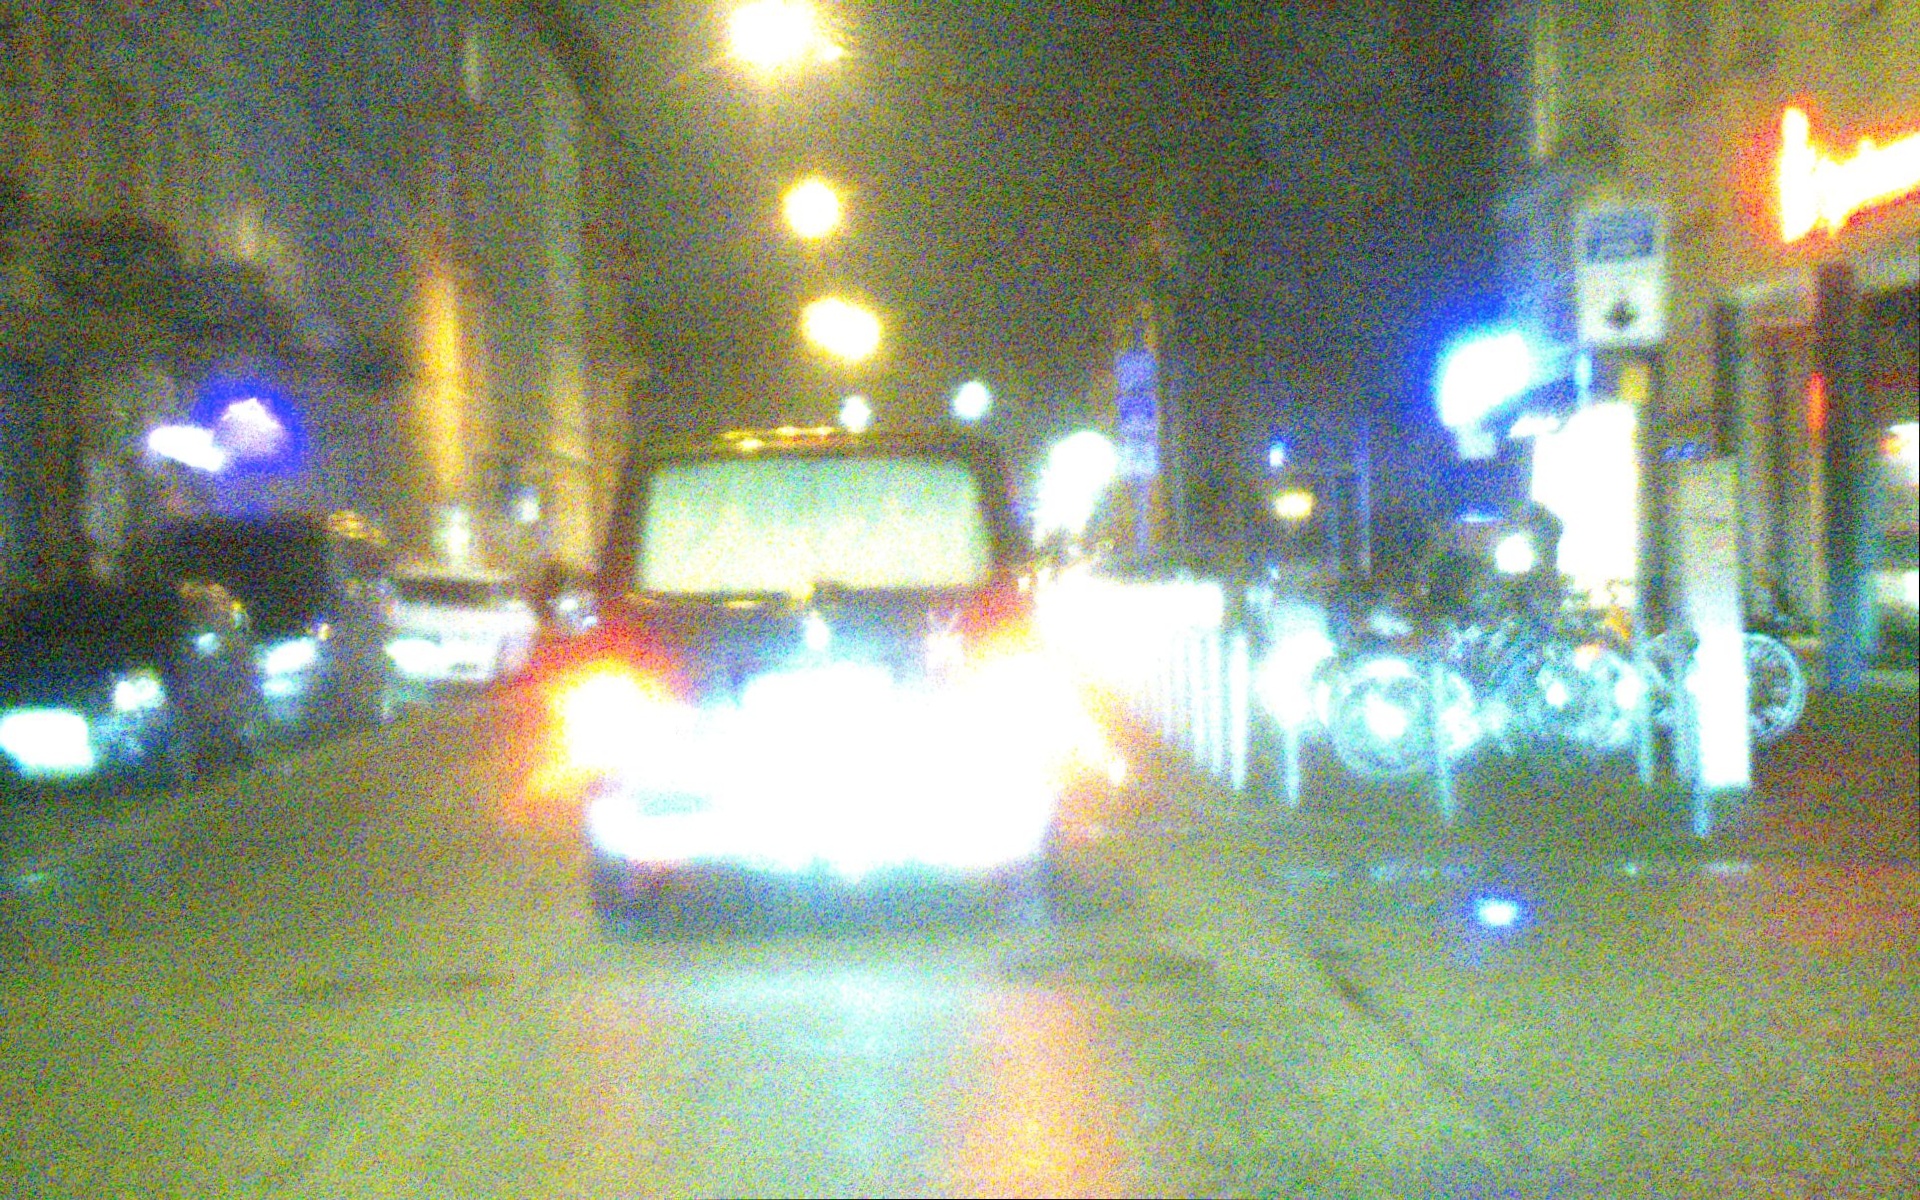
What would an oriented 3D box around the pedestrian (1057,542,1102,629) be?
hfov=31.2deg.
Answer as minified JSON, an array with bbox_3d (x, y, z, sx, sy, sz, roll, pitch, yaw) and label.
[{"bbox_3d":[2.564,-0.323,73.803,0.862,1.782,1.083,-3,2,2],"label":"pedestrian"}]

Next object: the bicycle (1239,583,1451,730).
[{"bbox_3d":[2.994,0.438,26.747,1.529,0.949,0.366,-7,0,7],"label":"bicycle"}]

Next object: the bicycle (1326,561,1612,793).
[{"bbox_3d":[3.054,0.459,20.672,1.528,1.198,0.366,-7,0,-2],"label":"bicycle"}]

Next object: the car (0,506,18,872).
[{"bbox_3d":[-5.724,0.501,15.014,1.902,1.823,4.829,-1,1,-1],"label":"car"}]

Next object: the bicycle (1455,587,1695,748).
[{"bbox_3d":[4.361,0.477,24.393,1.528,0.949,0.366,-7,0,-5],"label":"bicycle"}]

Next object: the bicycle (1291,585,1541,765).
[{"bbox_3d":[3.056,0.501,23.111,1.529,1.020,0.366,-7,0,3],"label":"bicycle"}]

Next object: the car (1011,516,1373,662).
[{"bbox_3d":[3.022,-0.157,45.367,4.512,1.525,1.780,-5,1,-1],"label":"car"}]

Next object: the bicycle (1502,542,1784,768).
[{"bbox_3d":[4.199,0.337,21.168,1.528,1.198,0.366,-7,0,-2],"label":"bicycle"}]

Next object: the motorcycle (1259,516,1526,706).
[{"bbox_3d":[4.109,0.096,32.758,2.288,1.582,0.867,-5,1,-1],"label":"motorcycle"}]

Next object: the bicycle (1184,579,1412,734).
[{"bbox_3d":[2.492,0.415,25.386,1.528,0.949,0.366,-7,0,-5],"label":"bicycle"}]

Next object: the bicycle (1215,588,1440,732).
[{"bbox_3d":[2.935,0.477,27.448,1.670,0.949,0.366,-7,0,7],"label":"bicycle"}]

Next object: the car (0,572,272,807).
[{"bbox_3d":[-5.956,0.567,23.978,1.569,1.455,3.720,-1,1,-1],"label":"car"}]

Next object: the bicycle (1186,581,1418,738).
[{"bbox_3d":[2.479,0.426,24.942,1.528,0.949,0.366,-7,0,-5],"label":"bicycle"}]

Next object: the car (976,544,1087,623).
[{"bbox_3d":[1.378,-0.352,68.215,1.993,1.459,4.417,-1,1,-1],"label":"car"}]

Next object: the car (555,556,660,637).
[{"bbox_3d":[-6.655,-0.085,65.149,1.672,1.486,3.722,0,1,-1],"label":"car"}]

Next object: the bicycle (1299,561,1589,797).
[{"bbox_3d":[2.838,0.459,20.218,1.529,1.198,0.366,-7,0,2],"label":"bicycle"}]

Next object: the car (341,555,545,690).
[{"bbox_3d":[-6.280,0.233,42.233,1.767,1.478,4.772,2,1,0],"label":"car"}]

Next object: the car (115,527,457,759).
[{"bbox_3d":[-5.791,0.295,30.200,1.996,1.823,5.207,-1,1,-1],"label":"car"}]

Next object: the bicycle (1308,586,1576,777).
[{"bbox_3d":[3.051,0.510,21.804,1.528,1.020,0.366,-7,0,-2],"label":"bicycle"}]

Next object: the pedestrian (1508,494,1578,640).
[{"bbox_3d":[7.309,-0.421,43.141,0.703,1.782,0.624,-3,2,2],"label":"pedestrian"}]

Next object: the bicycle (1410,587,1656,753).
[{"bbox_3d":[3.920,0.476,23.569,1.529,0.949,0.366,-7,0,3],"label":"bicycle"}]

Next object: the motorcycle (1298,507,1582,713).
[{"bbox_3d":[4.109,0.081,29.545,2.172,1.542,0.867,-5,1,-1],"label":"motorcycle"}]

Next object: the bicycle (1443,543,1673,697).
[{"bbox_3d":[4.425,0.147,25.467,1.528,0.949,0.366,-7,0,-5],"label":"bicycle"}]

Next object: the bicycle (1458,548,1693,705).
[{"bbox_3d":[4.451,0.189,24.866,1.528,0.949,0.366,-7,0,-6],"label":"bicycle"}]

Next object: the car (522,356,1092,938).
[{"bbox_3d":[-0.569,0.125,14.644,1.996,2.042,4.694,-1,1,-1],"label":"car"}]

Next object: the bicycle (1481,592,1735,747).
[{"bbox_3d":[4.267,0.454,22.673,1.529,0.831,0.325,-7,0,3],"label":"bicycle"}]
